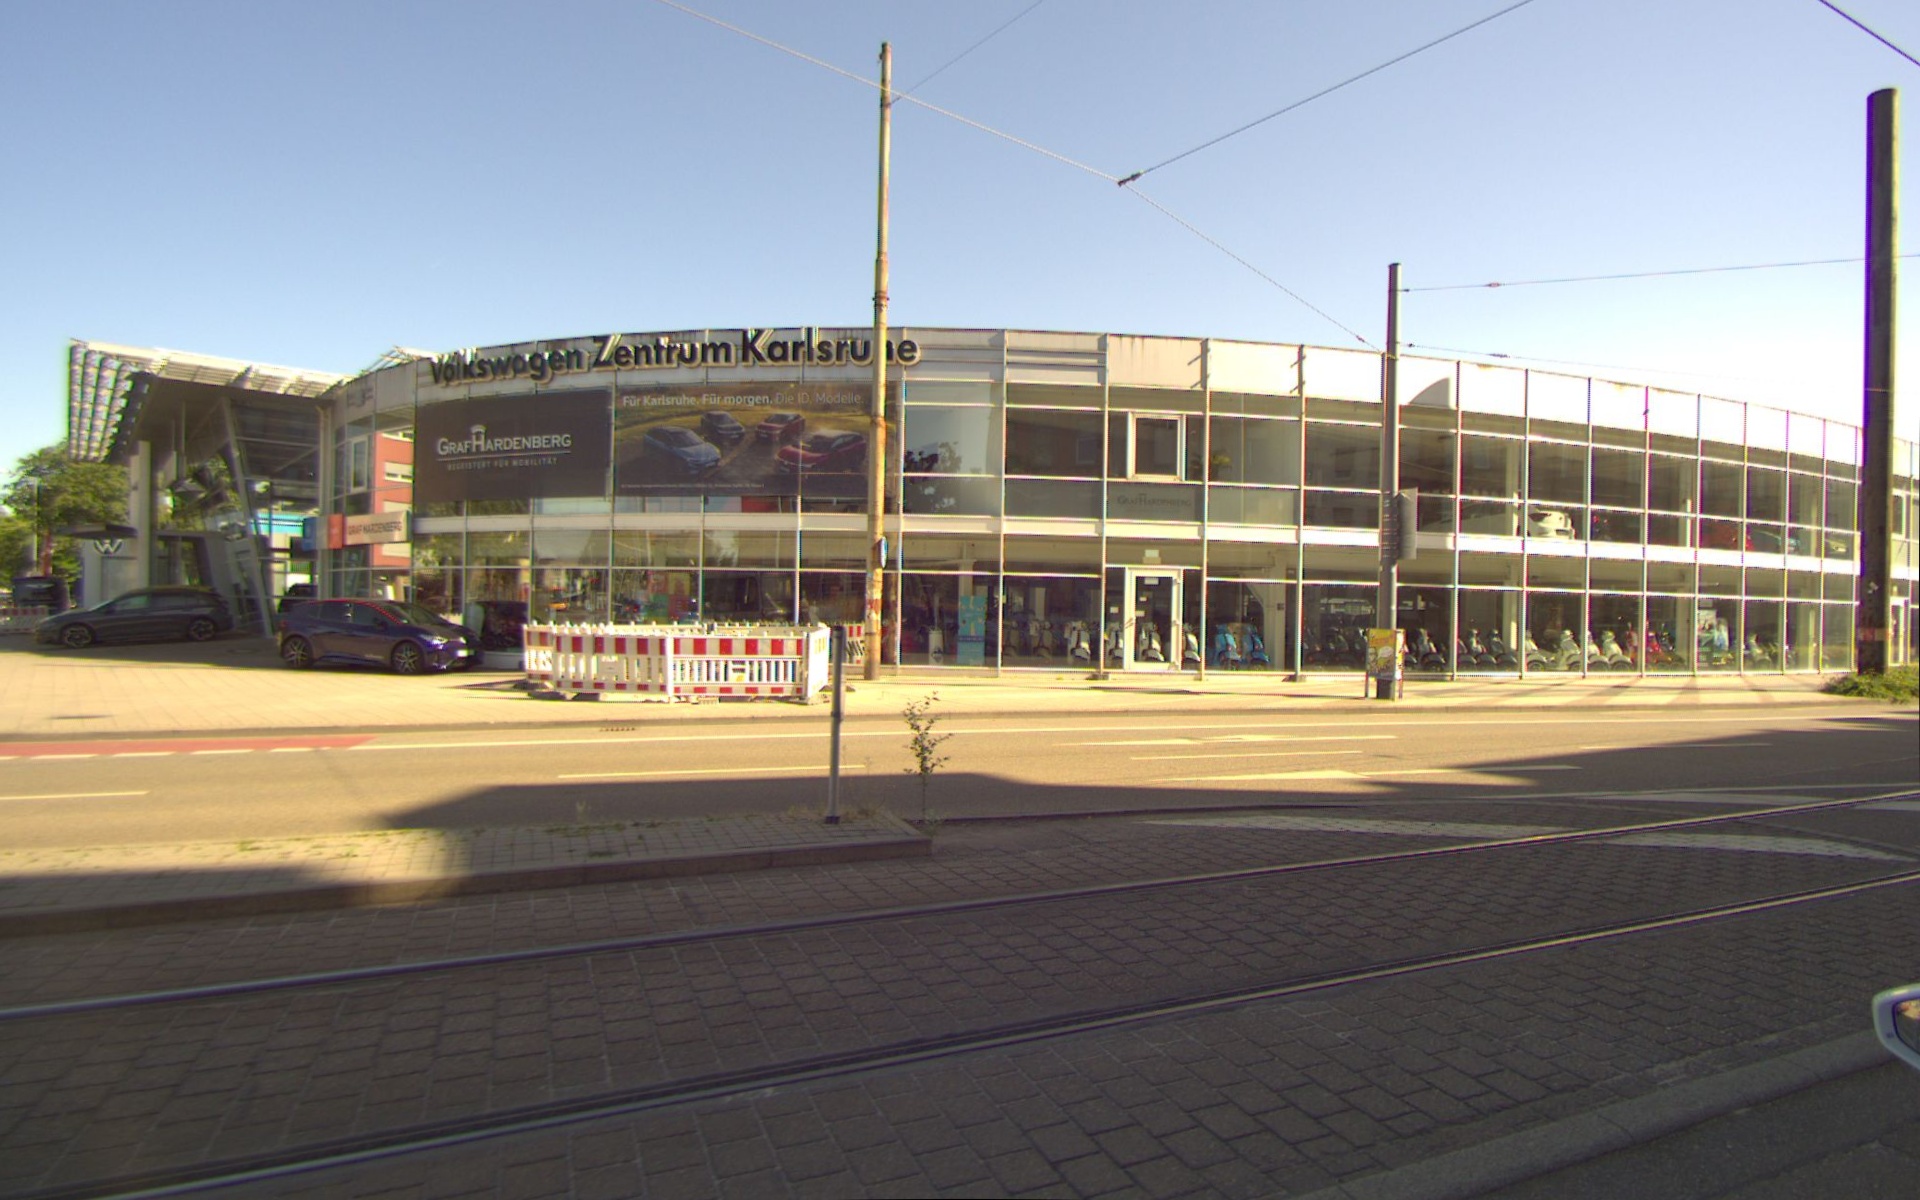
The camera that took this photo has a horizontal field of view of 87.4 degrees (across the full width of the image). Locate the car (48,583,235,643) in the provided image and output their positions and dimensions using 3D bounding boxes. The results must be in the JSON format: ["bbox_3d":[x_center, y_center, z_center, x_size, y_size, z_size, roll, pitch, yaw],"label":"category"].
[{"bbox_3d":[-24.294,0.331,29.950,4.168,1.585,1.738,-3,2,-40],"label":"car"}]

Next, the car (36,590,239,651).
[{"bbox_3d":[-22.590,0.502,27.747,4.168,1.419,1.738,-3,2,-40],"label":"car"}]

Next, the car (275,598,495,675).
[{"bbox_3d":[-12.455,0.750,21.860,3.919,1.557,1.760,0,0,10],"label":"car"}]

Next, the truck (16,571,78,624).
[{"bbox_3d":[-42.713,-0.147,46.946,1.987,2.251,4.161,2,1,-44],"label":"truck"}]
